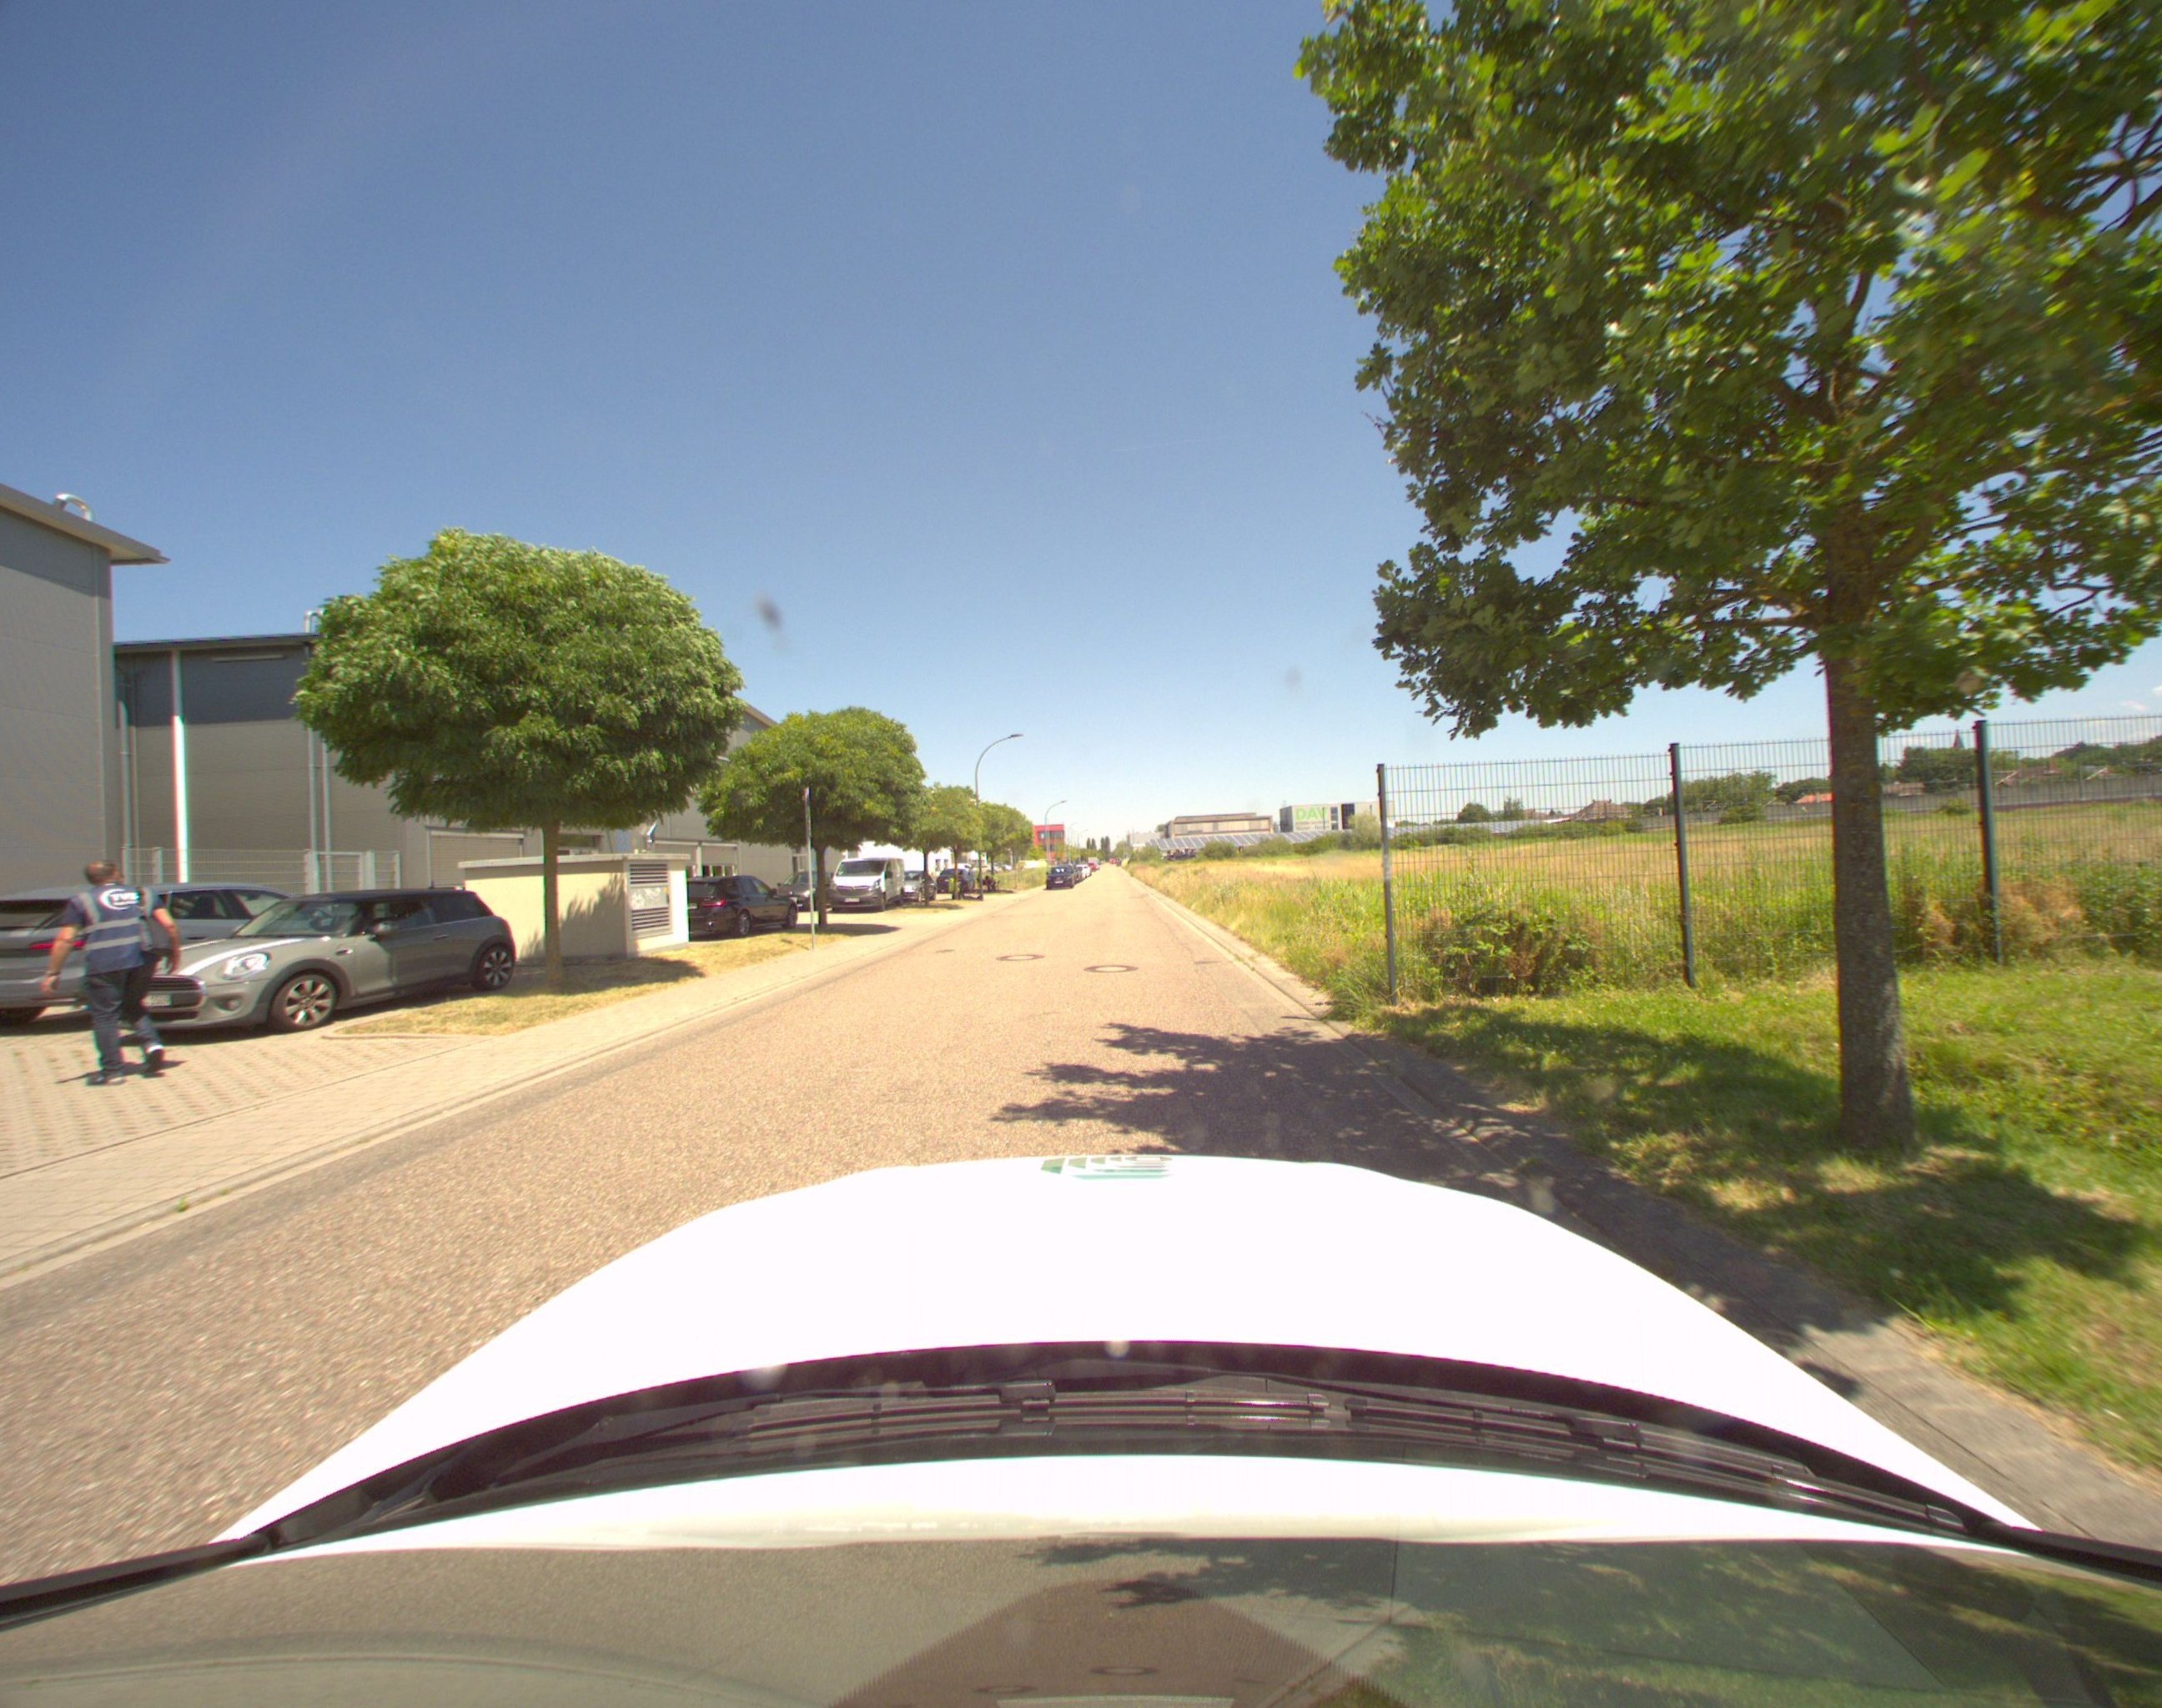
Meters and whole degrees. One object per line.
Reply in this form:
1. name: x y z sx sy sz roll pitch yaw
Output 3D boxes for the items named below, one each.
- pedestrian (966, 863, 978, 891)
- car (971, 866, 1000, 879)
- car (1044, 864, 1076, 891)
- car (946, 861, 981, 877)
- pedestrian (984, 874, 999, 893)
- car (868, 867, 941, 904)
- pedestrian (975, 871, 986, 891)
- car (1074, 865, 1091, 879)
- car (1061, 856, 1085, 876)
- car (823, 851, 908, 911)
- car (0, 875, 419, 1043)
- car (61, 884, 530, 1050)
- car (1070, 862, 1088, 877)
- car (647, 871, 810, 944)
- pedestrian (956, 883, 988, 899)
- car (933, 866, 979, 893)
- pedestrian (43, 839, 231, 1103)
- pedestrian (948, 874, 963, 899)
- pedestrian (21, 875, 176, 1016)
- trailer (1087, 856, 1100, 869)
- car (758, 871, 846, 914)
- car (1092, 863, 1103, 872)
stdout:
1. pedestrian: -6.300 1.318 47.141 0.503 1.595 0.754 0 -1 4
2. car: -15.979 3.088 136.327 4.511 1.943 2.032 -3 -1 2
3. car: -1.357 1.549 54.997 1.920 1.567 4.190 -3 0 1
4. car: -16.698 2.089 116.019 4.511 1.943 2.032 -3 -1 2
5. pedestrian: -5.190 1.685 47.132 0.747 1.099 0.647 0 -1 6
6. car: -7.789 1.403 36.476 1.919 1.441 4.844 -3 -2 3
7. pedestrian: -6.009 1.611 48.707 0.503 1.191 0.754 0 -1 4
8. car: 0.221 2.172 98.417 1.780 1.520 3.984 -3 -1 2
9. car: -0.646 1.036 71.383 1.762 1.663 4.554 -3 0 2
10. car: -8.014 0.954 30.804 1.831 2.019 5.125 -2 -1 0
11. car: -11.282 1.142 10.514 1.728 1.628 4.351 -1 -1 3
12. car: -8.879 1.157 9.766 1.758 1.453 3.843 -1 -1 3
13. car: -0.170 1.647 87.379 1.780 1.520 3.984 -2 -1 2
14. car: -8.444 1.208 20.055 1.759 1.453 4.716 -3 -1 2
15. pedestrian: -5.090 1.737 38.182 1.352 0.749 0.754 0 -1 4
16. car: -7.446 1.487 48.848 1.920 1.465 4.692 0 0 1
17. pedestrian: -7.749 0.877 6.730 0.832 1.972 0.971 -2 -1 42
18. pedestrian: -5.715 1.478 37.107 0.475 1.150 0.557 0 -3 12
19. pedestrian: -12.748 1.148 10.604 0.837 1.713 0.965 -1 -1 1
20. trailer: 2.354 1.589 148.898 2.192 2.137 4.287 -3 -1 2
21. car: -10.539 1.413 31.080 1.920 1.440 4.087 0 0 0
22. car: 2.776 2.262 137.494 1.780 1.520 3.984 -3 -1 2
